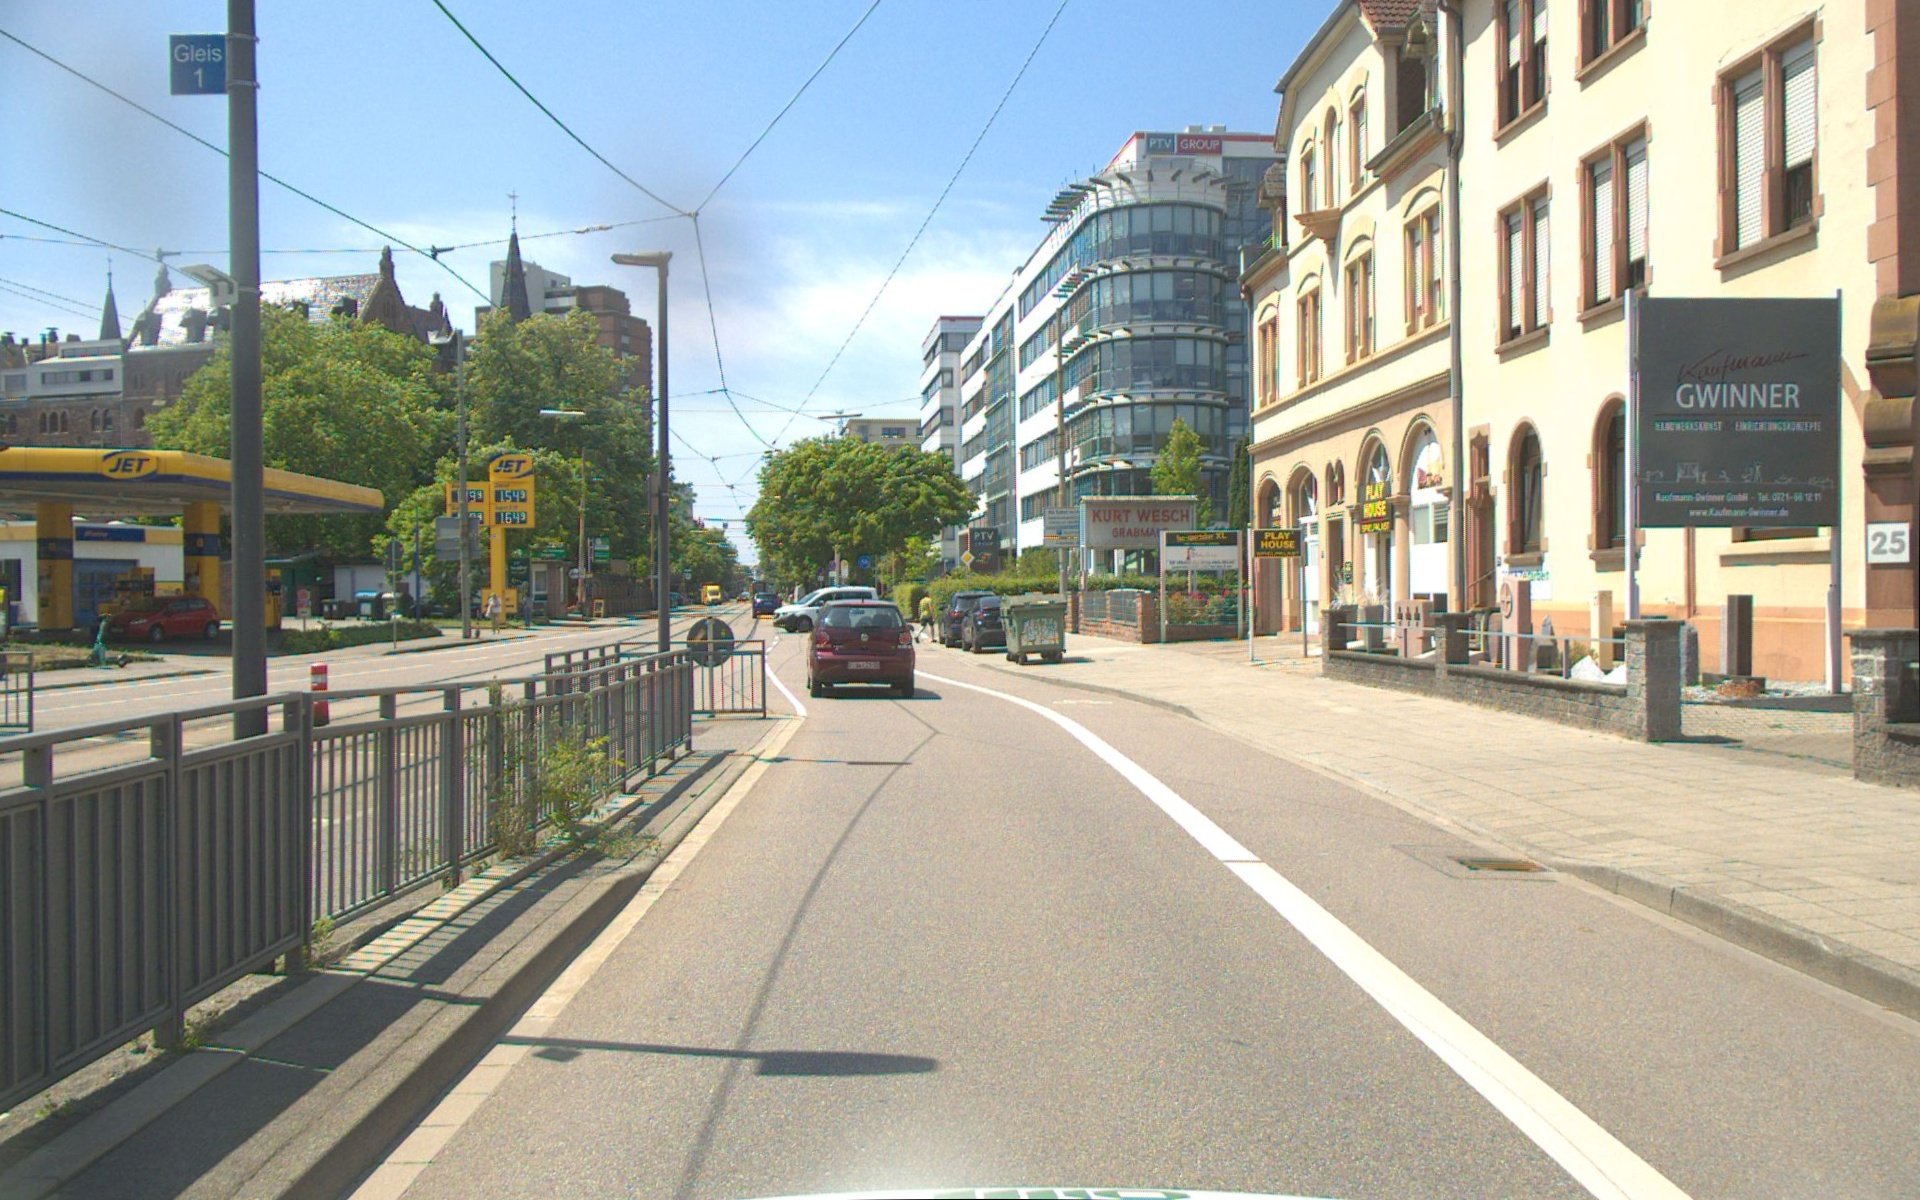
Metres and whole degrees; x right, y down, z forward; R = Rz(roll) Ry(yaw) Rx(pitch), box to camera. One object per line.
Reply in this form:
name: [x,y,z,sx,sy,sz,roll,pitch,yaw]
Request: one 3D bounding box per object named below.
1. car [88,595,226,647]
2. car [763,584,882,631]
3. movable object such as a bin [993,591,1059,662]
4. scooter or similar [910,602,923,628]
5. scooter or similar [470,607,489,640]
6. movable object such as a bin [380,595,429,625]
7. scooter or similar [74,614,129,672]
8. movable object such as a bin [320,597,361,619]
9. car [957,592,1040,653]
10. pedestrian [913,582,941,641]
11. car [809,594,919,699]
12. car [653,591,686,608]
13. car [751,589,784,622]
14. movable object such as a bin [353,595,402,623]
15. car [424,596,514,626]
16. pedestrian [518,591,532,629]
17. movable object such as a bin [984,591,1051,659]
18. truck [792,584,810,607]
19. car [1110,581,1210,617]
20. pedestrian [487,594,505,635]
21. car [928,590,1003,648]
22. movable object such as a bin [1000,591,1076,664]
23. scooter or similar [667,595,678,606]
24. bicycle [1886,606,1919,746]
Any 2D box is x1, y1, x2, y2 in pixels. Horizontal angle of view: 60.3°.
car: [-26.733,0.668,55.186,1.787,1.531,4.202,1,2,16]
car: [-5.633,0.289,67.573,4.477,1.831,1.986,-1,0,-24]
movable object such as a bin: [1.464,0.581,37.034,1.225,1.480,1.055,-3,0,-10]
scooter or similar: [-2.088,0.711,79.976,0.319,1.244,1.153,1,0,14]
scooter or similar: [-18.120,0.890,62.386,0.509,1.221,1.374,1,0,-9]
movable object such as a bin: [-29.159,0.523,86.914,1.489,1.536,2.101,1,0,17]
scooter or similar: [-19.847,0.982,38.259,0.337,1.286,1.242,1,0,18]
movable object such as a bin: [-32.852,0.430,87.689,1.375,1.157,1.565,1,0,18]
car: [1.048,0.611,47.241,1.738,1.575,4.461,-2,0,-6]
pedestrian: [-1.122,0.402,56.430,0.769,1.994,0.586,-1,0,-22]
car: [-1.541,0.683,26.305,1.587,1.512,3.997,1,0,-4]
car: [-37.492,-0.056,213.456,3.907,2.049,1.999,-1,0,-3]
car: [-12.336,0.357,105.695,1.957,2.049,3.992,1,0,-9]
movable object such as a bin: [-30.771,0.458,87.413,1.489,1.457,2.101,1,0,17]
car: [-26.188,0.576,88.319,1.895,1.514,4.439,1,0,33]
pedestrian: [-20.547,0.468,78.127,0.569,1.806,0.698,1,0,-10]
movable object such as a bin: [1.314,0.571,38.095,1.299,1.480,1.055,-3,0,-10]
truck: [-18.423,-0.531,191.956,1.955,2.708,4.868,1,0,-7]
car: [8.647,-0.046,71.823,4.066,1.485,1.817,-1,0,-3]
pedestrian: [-19.686,0.600,70.219,0.613,1.720,0.721,-1,0,-7]
car: [0.113,0.568,53.471,1.887,1.722,5.076,-2,0,-5]
movable object such as a bin: [1.690,0.580,35.955,1.367,1.480,1.136,-3,0,-10]
scooter or similar: [-32.499,0.058,187.042,1.076,1.175,0.522,1,0,-28]
bicycle: [8.831,0.613,13.861,1.763,1.147,0.590,-1,0,7]
